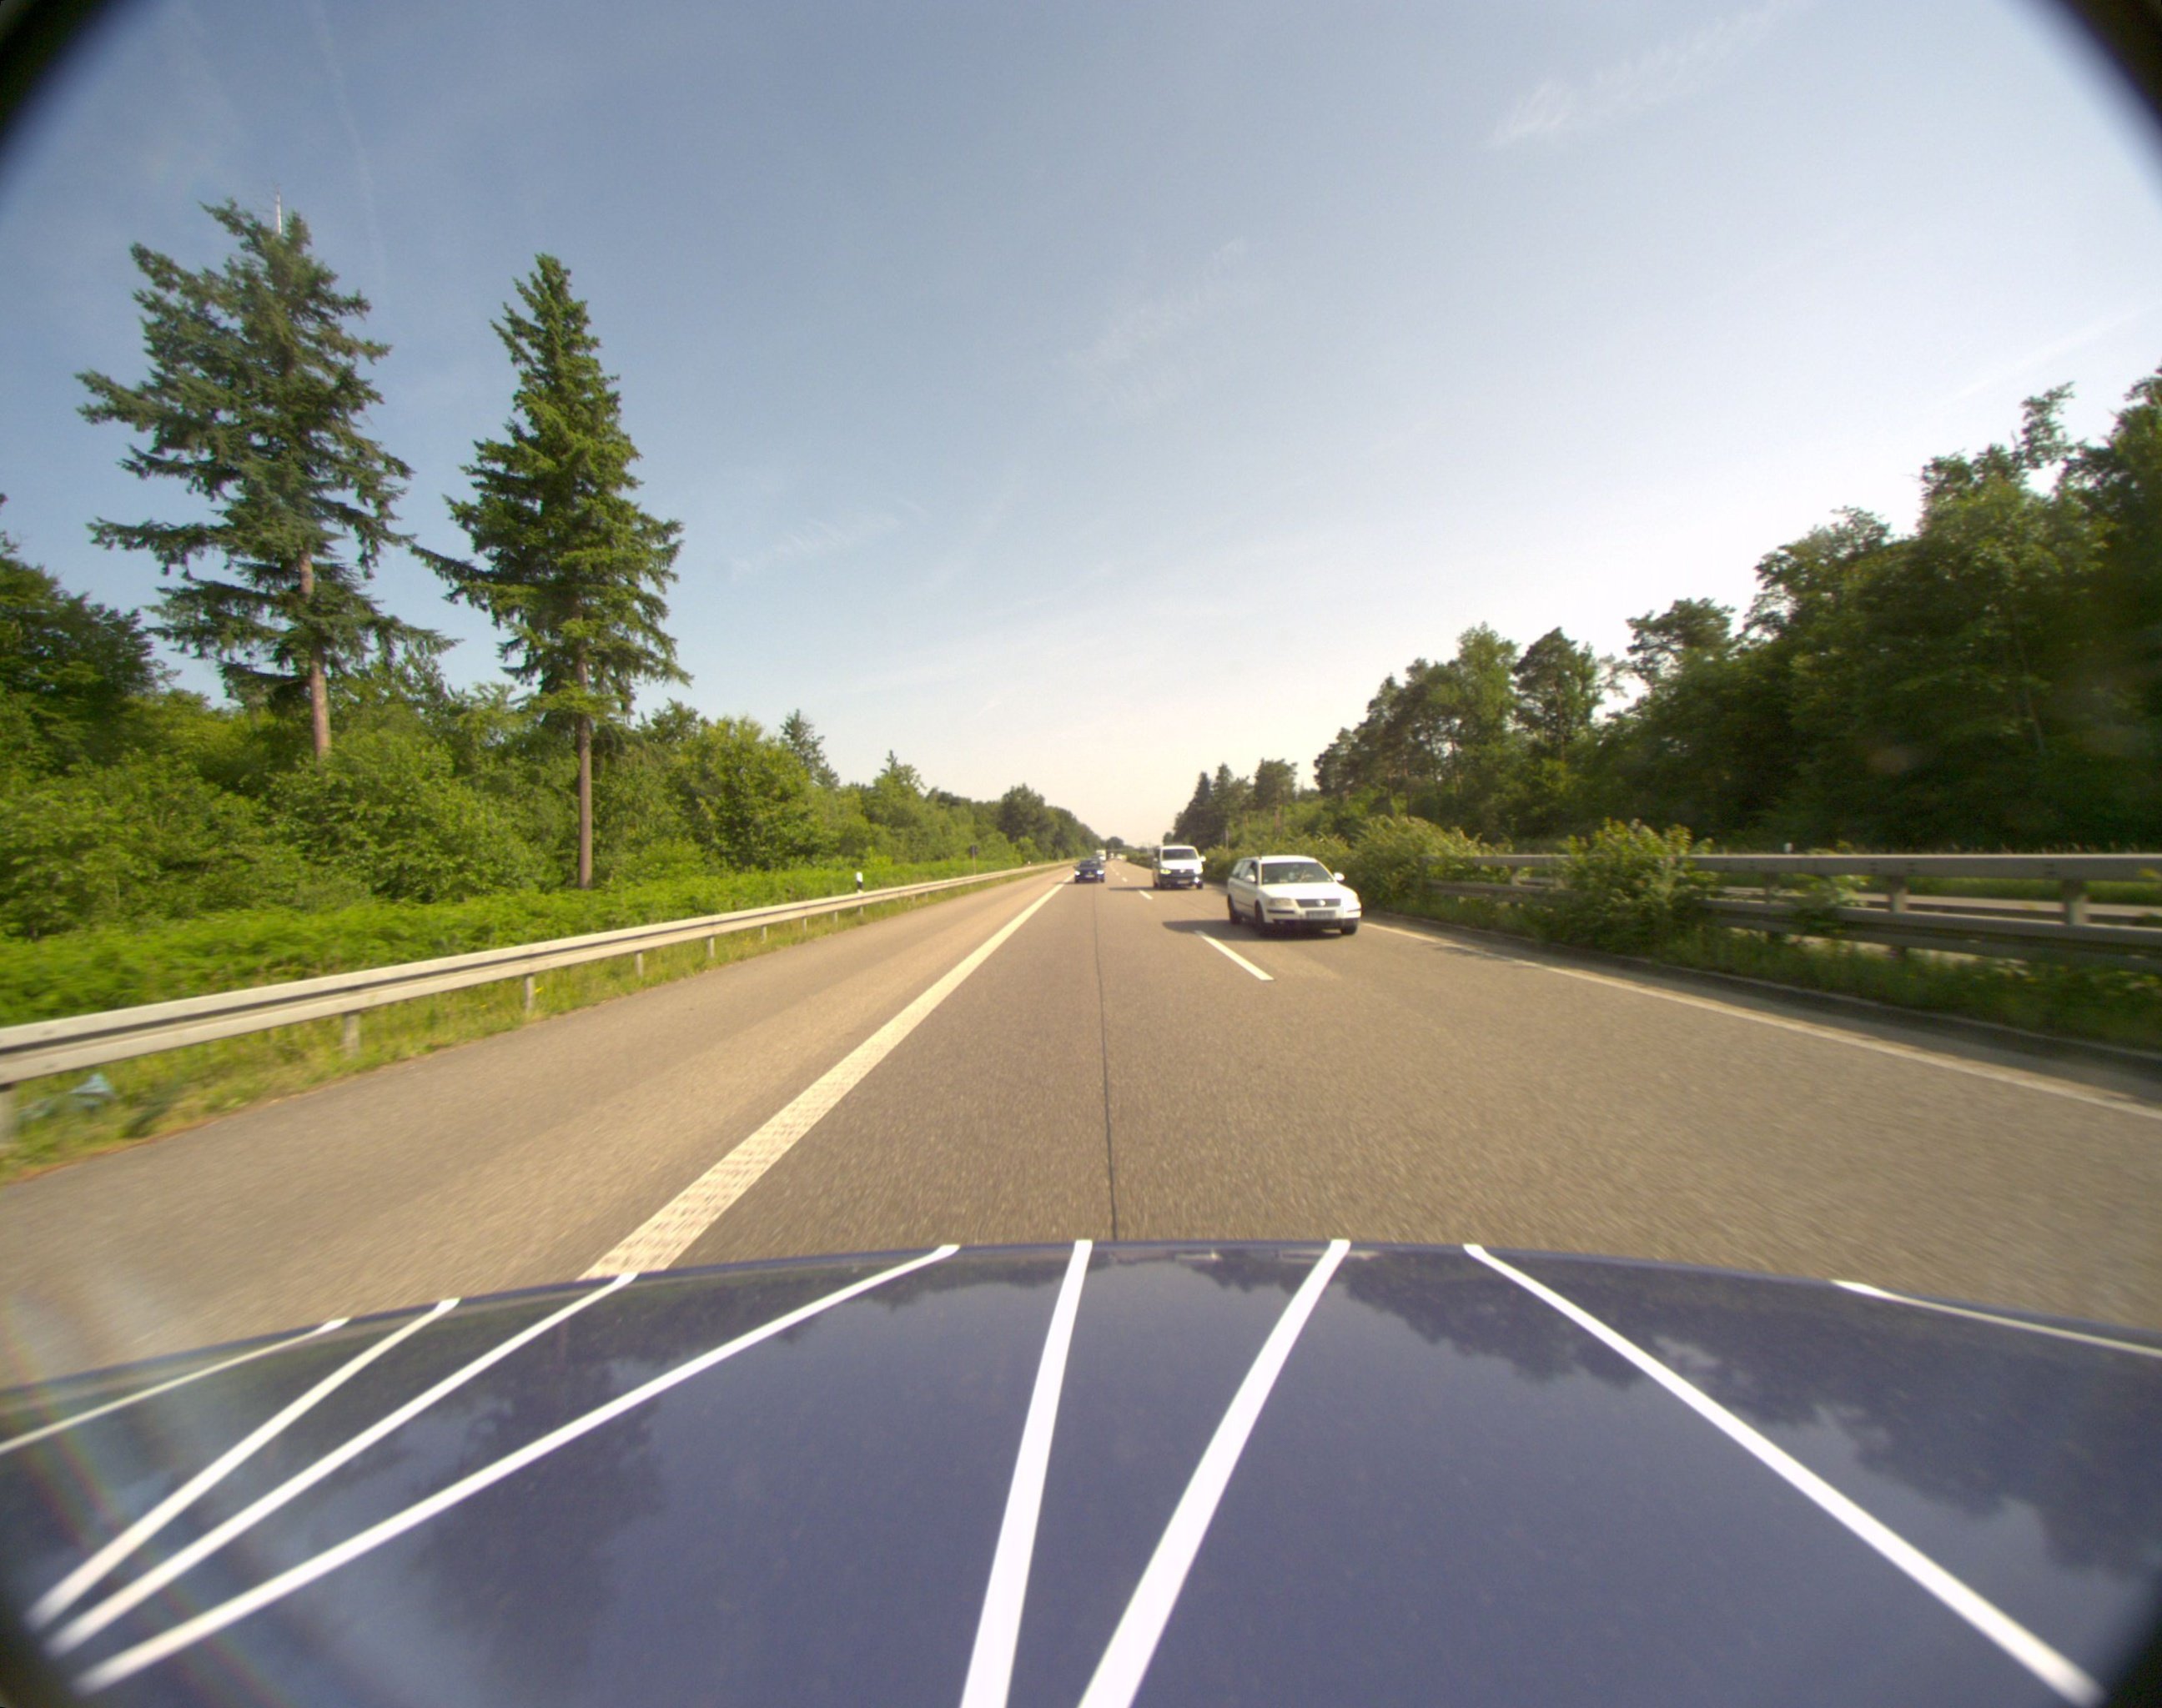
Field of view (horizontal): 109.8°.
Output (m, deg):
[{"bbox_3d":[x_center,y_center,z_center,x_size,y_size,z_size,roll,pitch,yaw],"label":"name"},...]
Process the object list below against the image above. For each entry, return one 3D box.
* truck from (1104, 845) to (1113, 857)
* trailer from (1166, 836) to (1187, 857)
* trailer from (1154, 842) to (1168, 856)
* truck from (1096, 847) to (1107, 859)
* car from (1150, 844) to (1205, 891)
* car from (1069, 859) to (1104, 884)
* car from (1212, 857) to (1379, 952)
[{"bbox_3d":[9.185,-0.964,251.187,2.694,4.061,12.366,-2,0,2],"label":"truck"},{"bbox_3d":[20.007,-1.509,160.021,2.839,4.184,12.411,-1,0,1],"label":"trailer"},{"bbox_3d":[23.931,-1.499,226.816,3.303,4.016,8.373,-2,1,1],"label":"trailer"},{"bbox_3d":[5.167,-0.297,192.688,2.694,3.020,10.373,-2,0,2],"label":"truck"},{"bbox_3d":[4.317,0.576,34.553,1.912,1.934,4.706,-2,0,1],"label":"car"},{"bbox_3d":[0.372,0.969,43.131,1.788,1.285,3.539,-2,0,3],"label":"car"},{"bbox_3d":[4.002,0.852,15.177,1.754,1.477,5.263,-2,0,-1],"label":"car"}]
